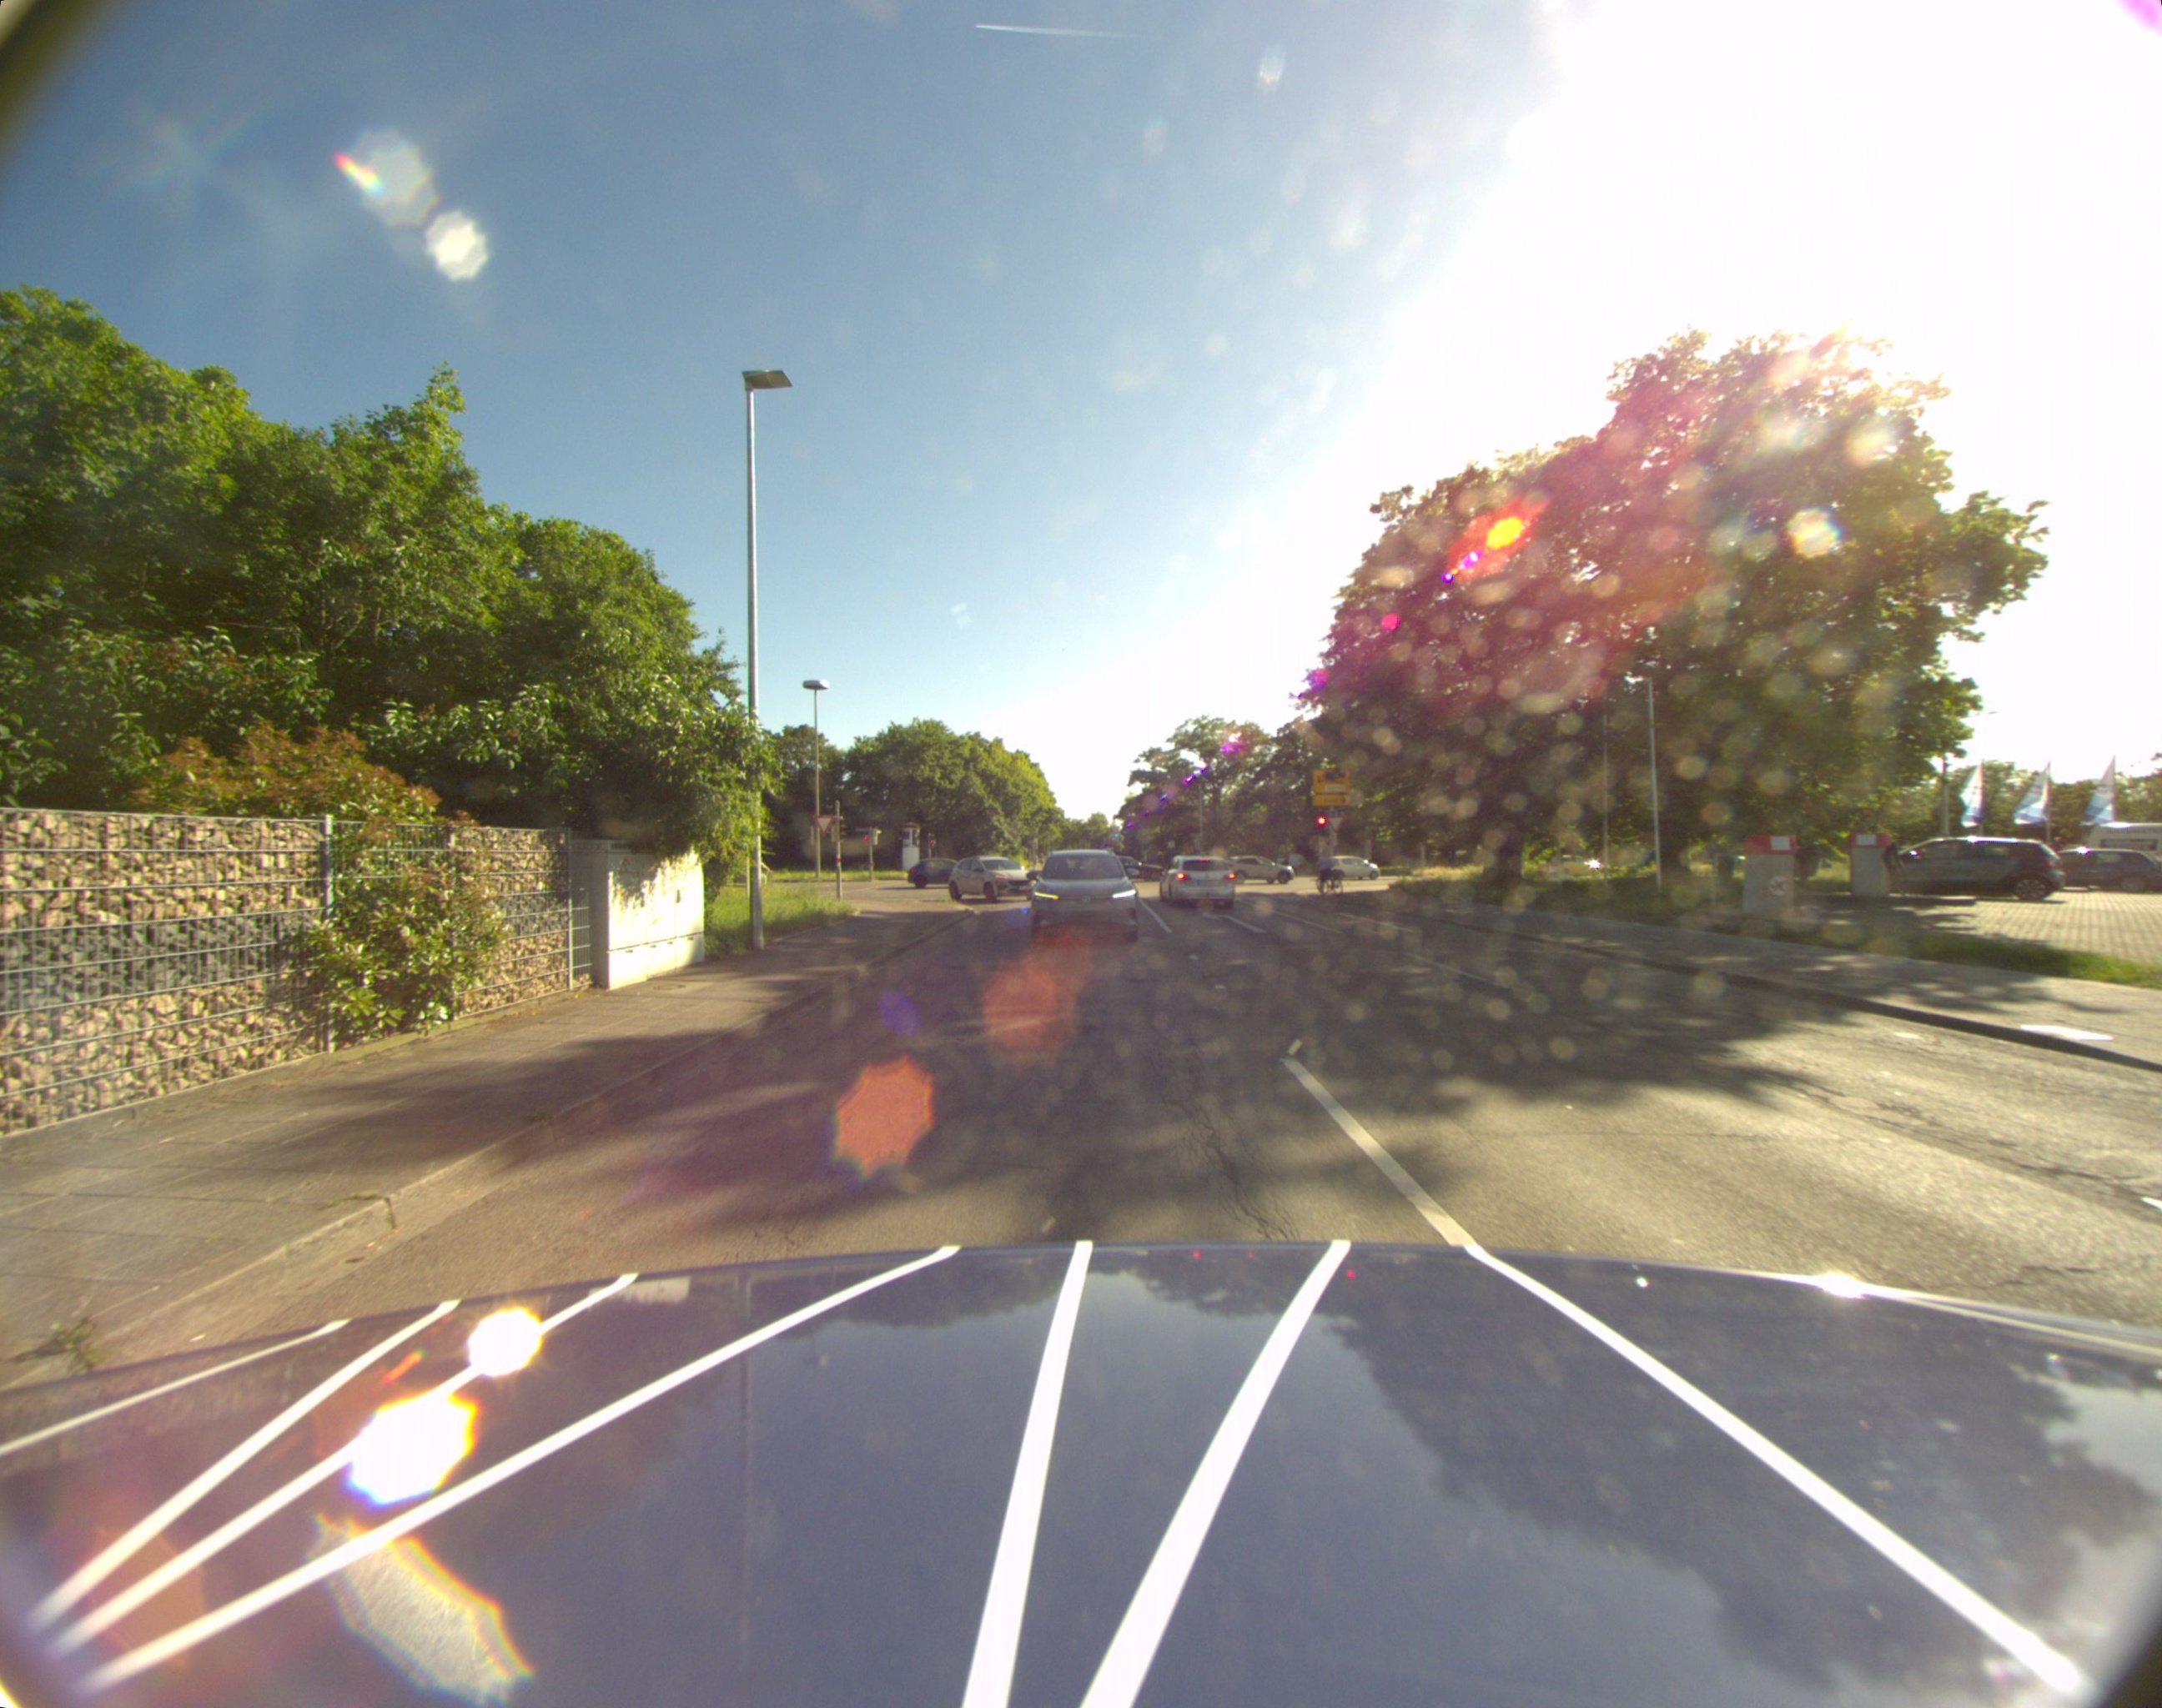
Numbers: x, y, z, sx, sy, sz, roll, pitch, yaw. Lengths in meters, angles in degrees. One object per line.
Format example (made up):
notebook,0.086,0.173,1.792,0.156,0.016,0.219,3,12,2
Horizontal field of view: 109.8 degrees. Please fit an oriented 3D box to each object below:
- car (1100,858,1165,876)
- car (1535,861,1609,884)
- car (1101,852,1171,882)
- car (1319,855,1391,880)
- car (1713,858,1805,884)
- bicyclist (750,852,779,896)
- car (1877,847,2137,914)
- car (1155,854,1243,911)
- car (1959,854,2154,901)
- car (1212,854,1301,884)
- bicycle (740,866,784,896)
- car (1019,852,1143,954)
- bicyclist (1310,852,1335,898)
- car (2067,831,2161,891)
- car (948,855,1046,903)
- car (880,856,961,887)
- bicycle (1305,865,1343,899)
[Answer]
car,3.855,0.980,56.816,4.503,1.221,1.691,1,0,-13
car,32.543,1.221,50.367,4.122,1.431,1.691,1,1,-12
car,3.290,0.742,44.906,3.994,1.532,1.624,2,2,7
car,17.249,0.813,47.848,3.913,1.432,1.691,-2,1,-12
car,43.969,1.067,49.319,4.363,1.477,1.919,2,2,-5
bicyclist,-12.346,0.781,29.637,0.542,1.624,0.809,3,-3,13
car,23.231,0.577,19.217,1.763,1.368,3.988,0,3,-35
car,3.420,0.769,22.890,1.841,1.480,4.889,2,0,0
car,33.478,0.764,26.204,1.575,1.330,3.895,0,2,-31
car,9.634,0.830,41.918,4.365,1.477,1.918,1,2,-10
bicycle,-12.385,1.060,29.575,0.530,1.069,1.873,3,-3,12
car,0.081,0.783,14.471,1.992,1.631,4.365,0,1,2
bicyclist,8.759,0.740,27.547,0.542,1.632,0.829,1,0,-6
car,38.925,0.305,26.168,2.001,2.087,5.644,1,2,-13
car,-3.067,0.838,26.947,1.696,1.564,4.110,0,0,-35
car,-8.080,0.873,38.396,3.913,1.432,1.690,0,3,-12
bicycle,8.772,0.997,27.493,0.529,1.135,2.025,1,0,-5
